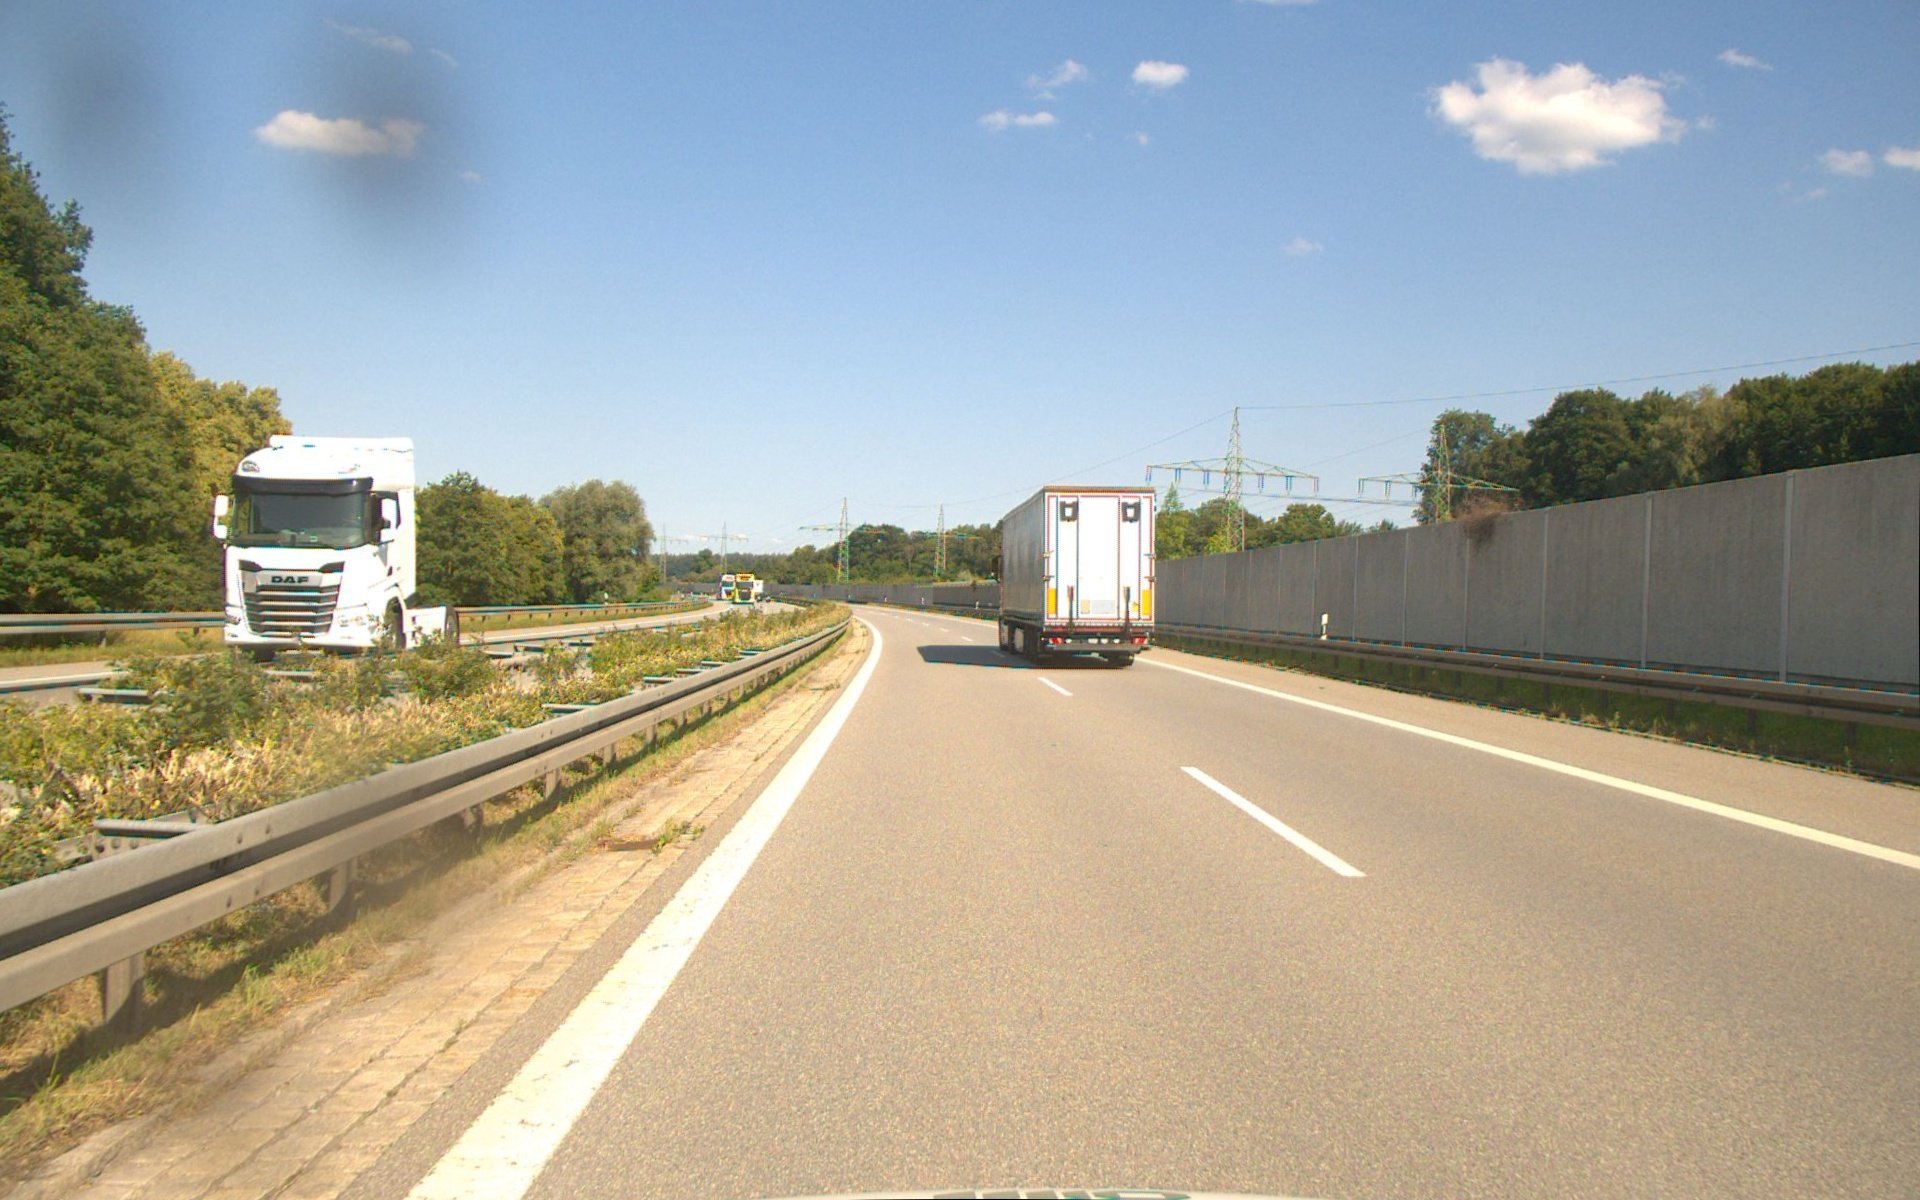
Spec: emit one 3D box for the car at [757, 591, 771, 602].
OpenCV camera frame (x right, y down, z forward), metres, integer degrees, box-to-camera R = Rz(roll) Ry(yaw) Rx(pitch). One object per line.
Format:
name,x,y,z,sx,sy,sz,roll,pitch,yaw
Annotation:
car,-28.593,-0.500,241.142,1.956,1.700,3.992,0,0,-9

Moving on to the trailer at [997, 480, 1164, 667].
trailer,2.815,-0.571,42.900,2.826,4.137,12.413,0,0,-3

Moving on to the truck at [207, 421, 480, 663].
truck,-10.995,-0.947,30.254,2.571,3.907,6.808,0,0,-1

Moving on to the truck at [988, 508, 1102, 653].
truck,2.438,-0.545,49.686,2.774,4.082,6.583,0,0,-3

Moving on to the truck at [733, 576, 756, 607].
truck,-28.125,-1.051,215.689,2.707,3.976,8.752,-1,0,-9
